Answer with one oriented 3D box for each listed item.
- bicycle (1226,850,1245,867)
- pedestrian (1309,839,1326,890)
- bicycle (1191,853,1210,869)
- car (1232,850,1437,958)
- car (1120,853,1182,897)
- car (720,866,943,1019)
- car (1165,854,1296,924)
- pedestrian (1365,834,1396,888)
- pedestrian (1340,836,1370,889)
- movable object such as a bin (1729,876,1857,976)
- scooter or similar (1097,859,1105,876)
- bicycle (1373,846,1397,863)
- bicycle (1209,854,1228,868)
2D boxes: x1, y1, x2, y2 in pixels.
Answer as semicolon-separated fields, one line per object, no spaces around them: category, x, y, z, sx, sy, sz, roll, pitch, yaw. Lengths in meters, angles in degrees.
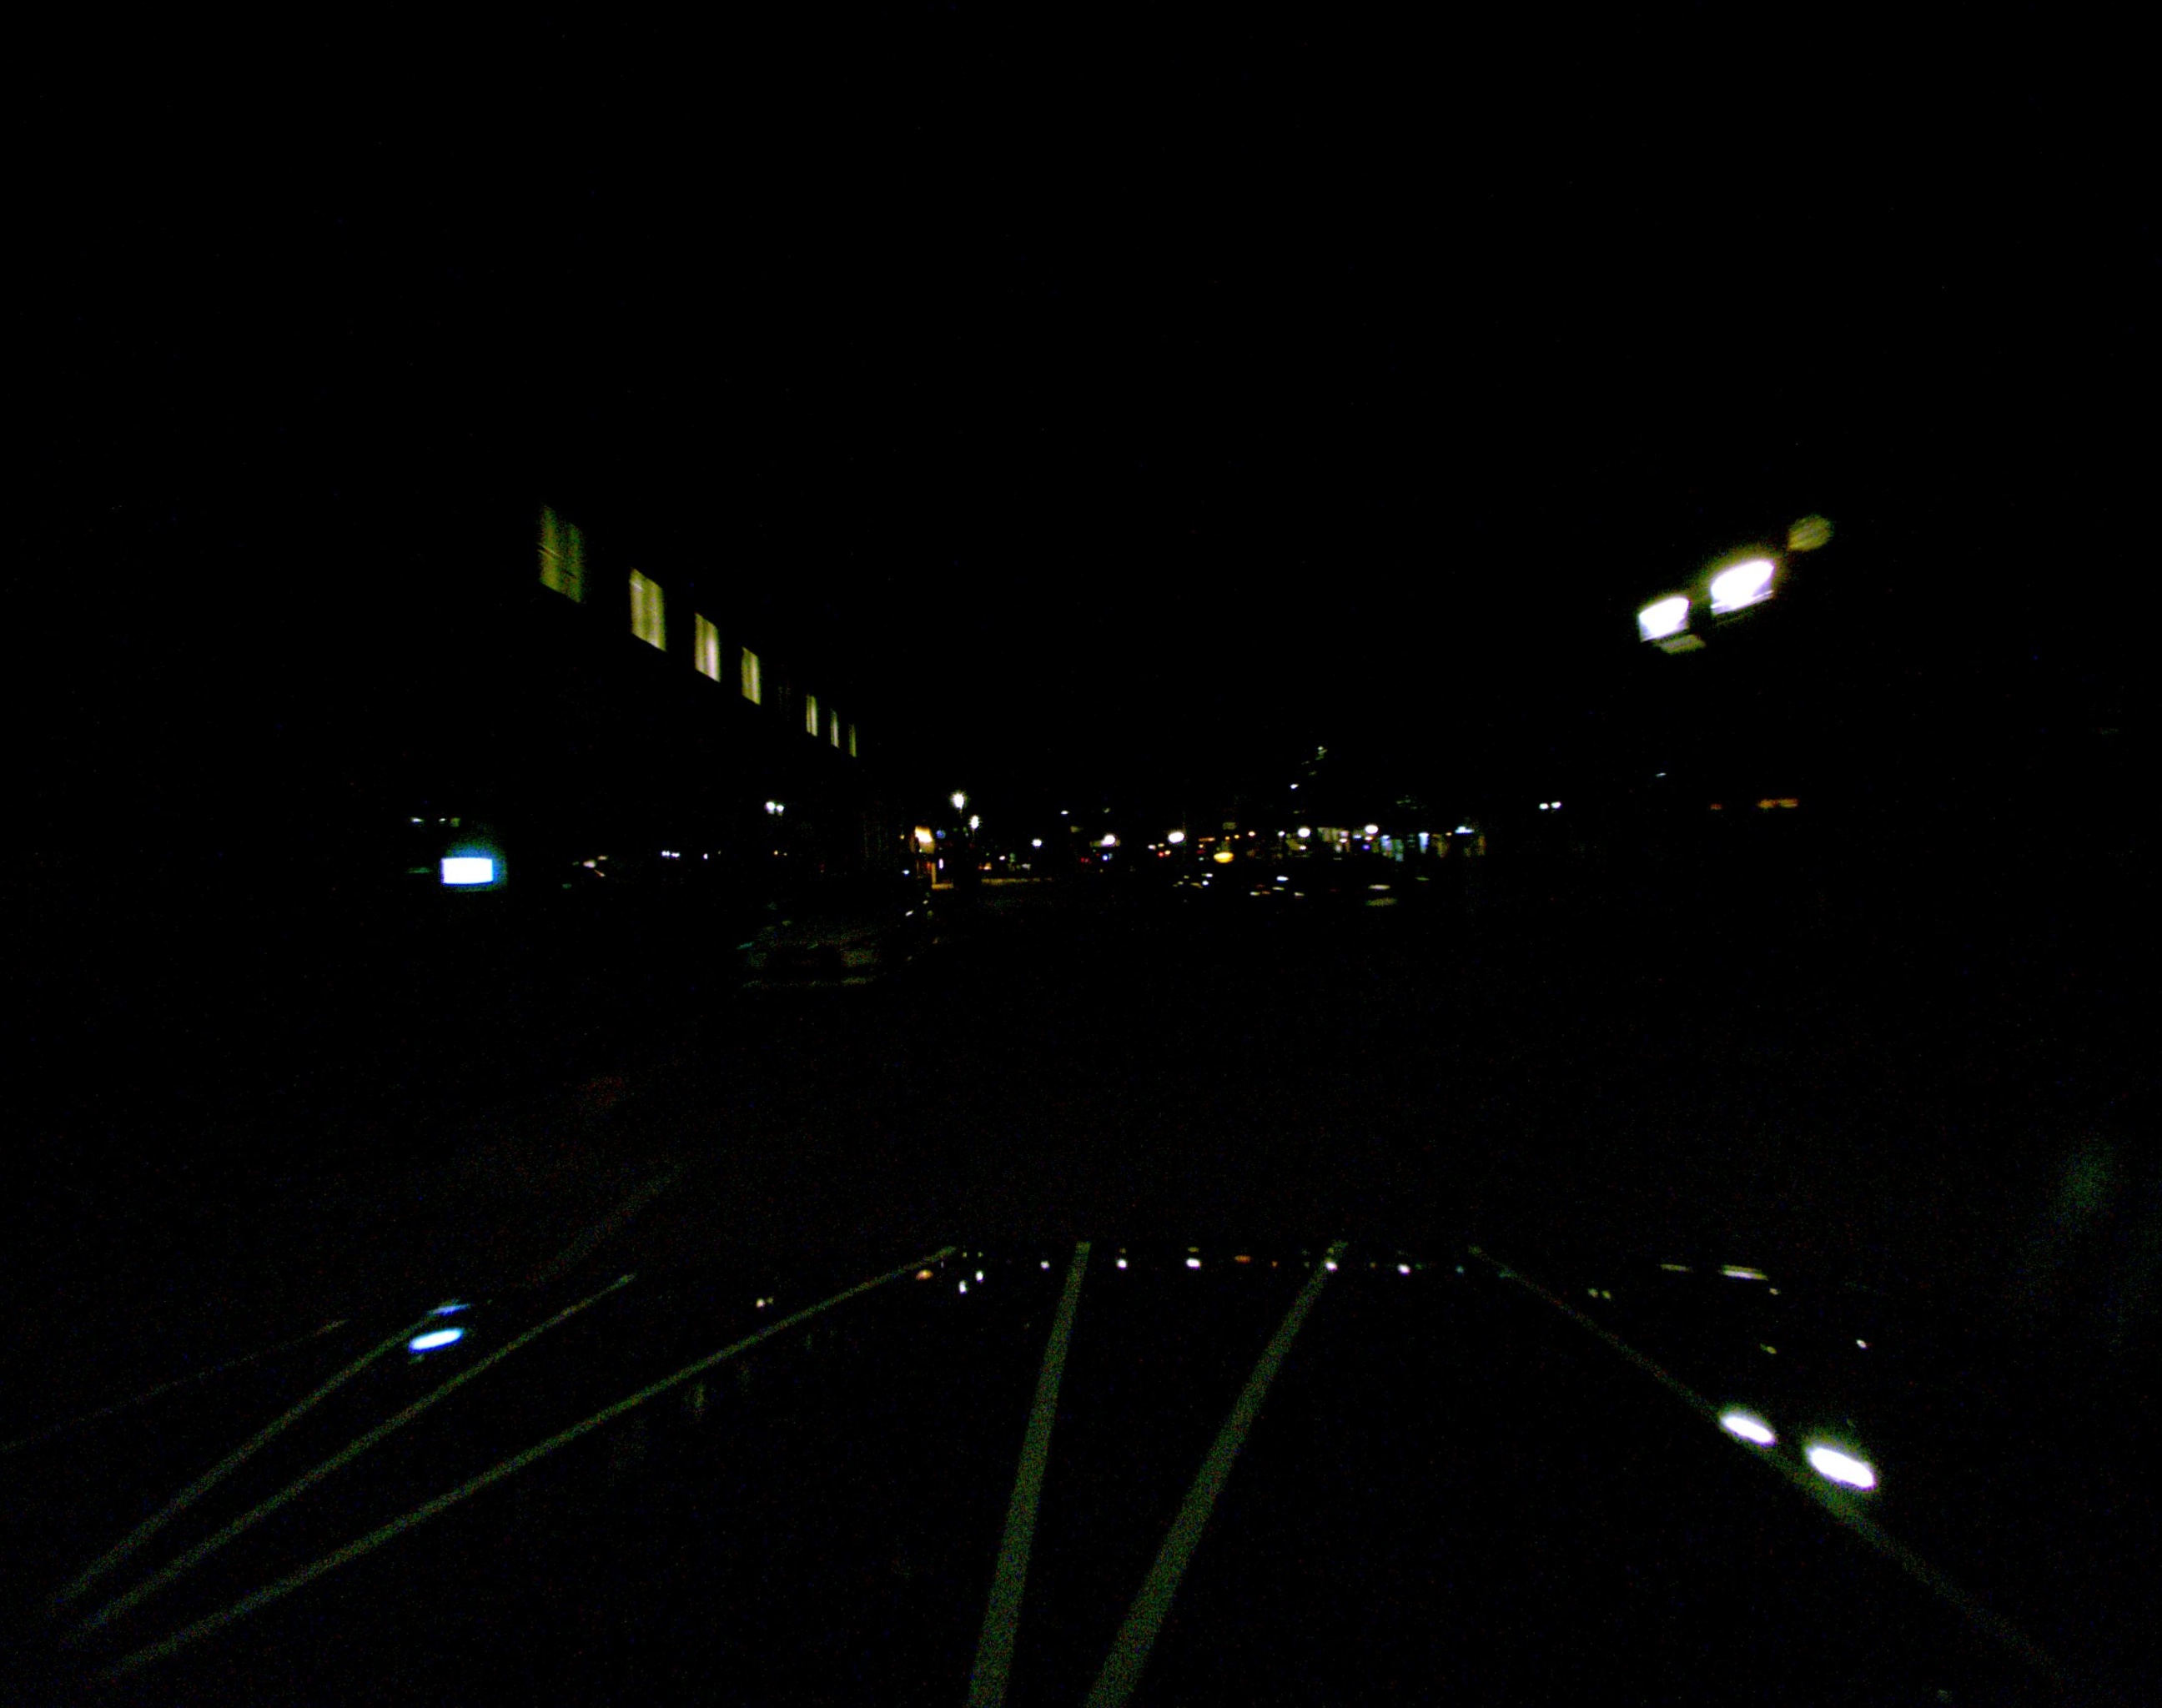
bicycle;12.894;0.357;63.416;0.765;1.356;2.411;-2;1;-7
pedestrian;8.459;0.379;27.126;0.501;1.811;0.504;-1;2;23
bicycle;9.891;0.546;63.100;0.861;1.247;2.464;-2;1;-7
car;4.450;0.785;14.278;1.764;1.628;4.812;-2;0;-6
car;2.798;0.782;31.169;1.776;1.565;4.481;-3;1;-4
car;-3.155;1.011;10.672;1.747;1.479;4.634;-2;1;-3
car;3.785;0.821;20.195;1.911;1.533;4.778;-3;0;-8
pedestrian;10.375;0.241;26.340;0.793;1.807;1.024;-3;1;15
pedestrian;9.735;0.284;26.975;0.879;1.821;0.792;-3;1;21
movable object such as a bin;8.267;0.809;8.850;0.749;1.059;0.792;-2;1;-5
scooter or similar;1.499;0.979;55.870;0.370;1.256;1.448;-3;-1;-4
bicycle;25.930;0.036;64.788;0.775;1.356;2.509;-2;1;-7
bicycle;11.424;0.564;63.252;0.861;1.081;2.481;-2;1;-7
